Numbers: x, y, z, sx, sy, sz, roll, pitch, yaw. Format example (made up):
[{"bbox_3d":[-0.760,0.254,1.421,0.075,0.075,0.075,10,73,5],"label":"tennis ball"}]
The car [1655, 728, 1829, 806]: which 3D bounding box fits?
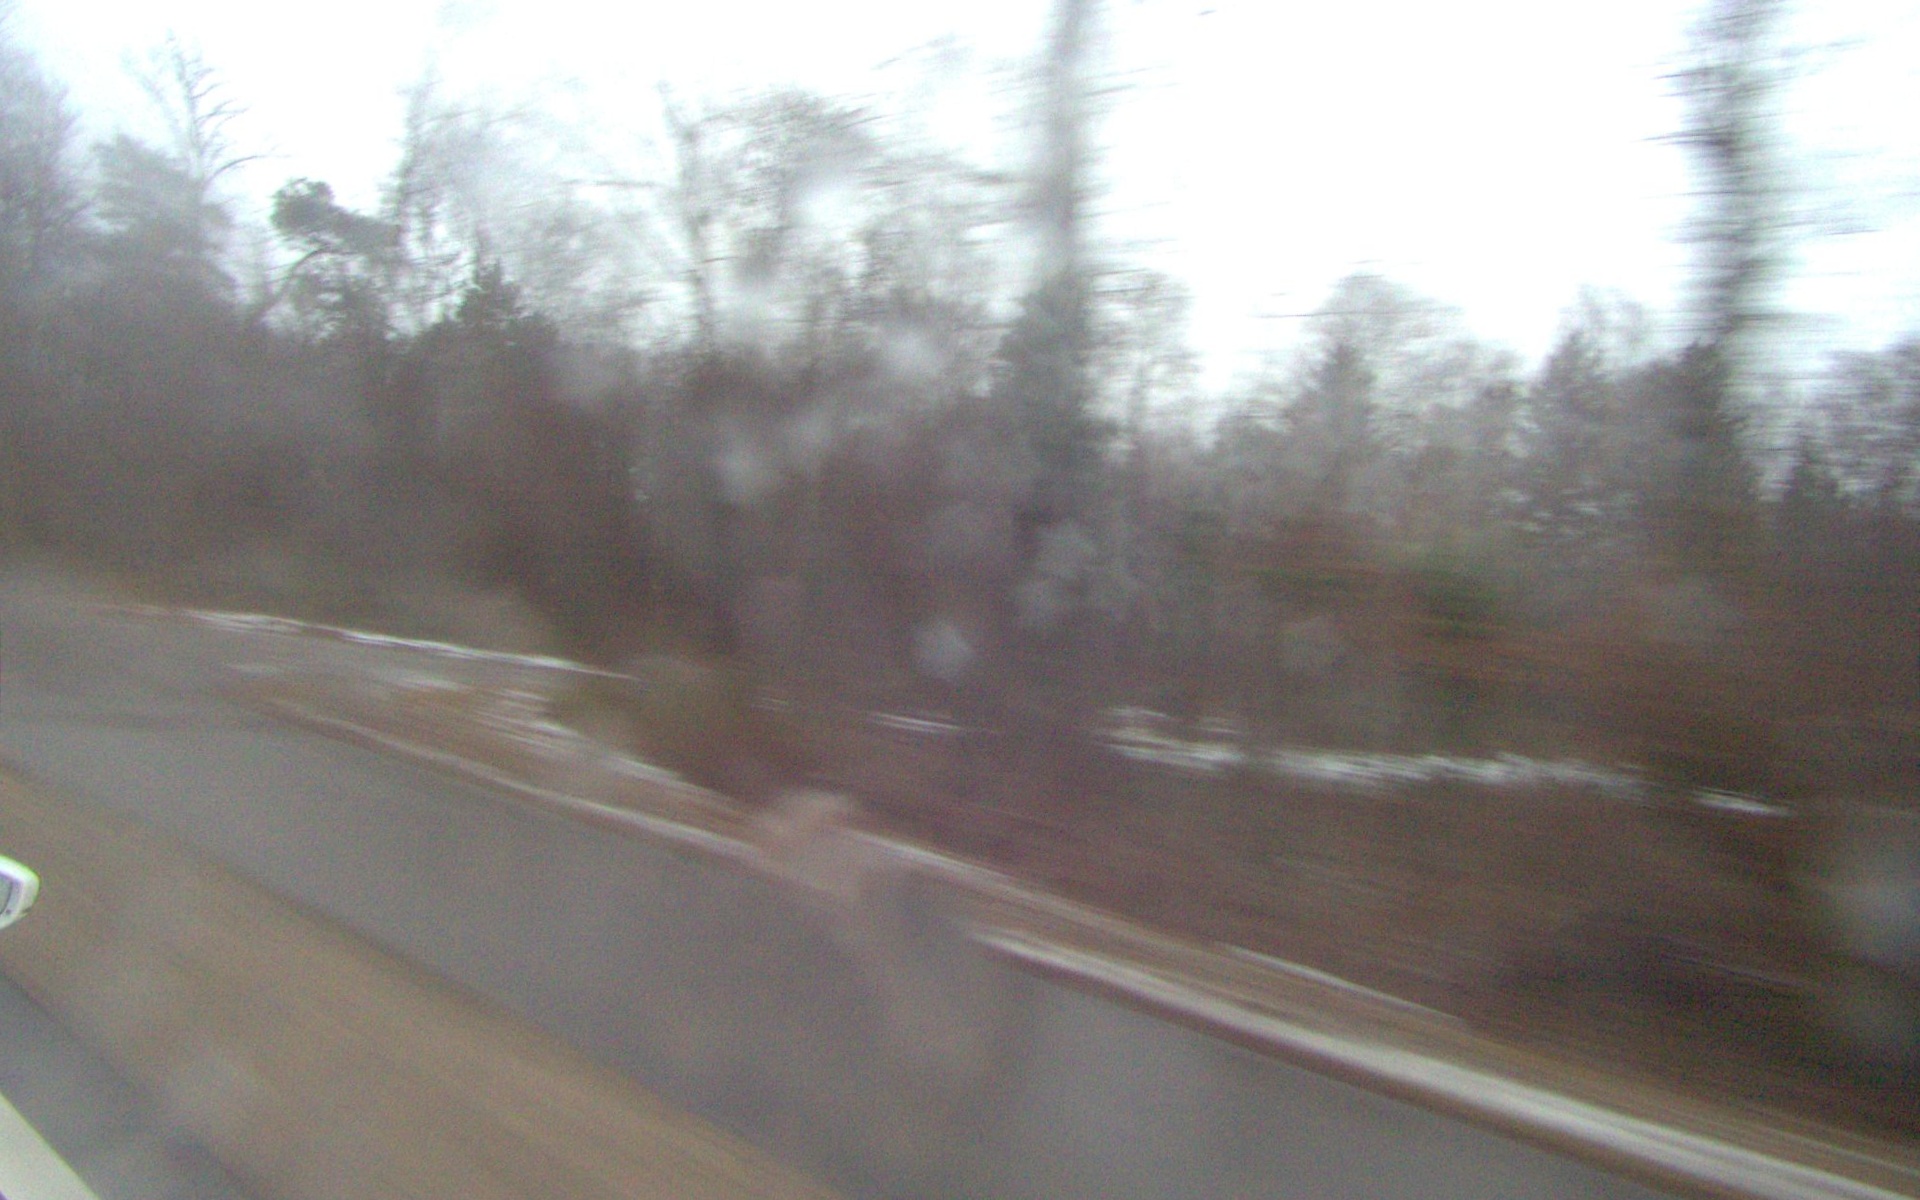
[{"bbox_3d":[23.025,4.884,29.797,1.631,1.514,3.724,7,-1,-16],"label":"car"}]
